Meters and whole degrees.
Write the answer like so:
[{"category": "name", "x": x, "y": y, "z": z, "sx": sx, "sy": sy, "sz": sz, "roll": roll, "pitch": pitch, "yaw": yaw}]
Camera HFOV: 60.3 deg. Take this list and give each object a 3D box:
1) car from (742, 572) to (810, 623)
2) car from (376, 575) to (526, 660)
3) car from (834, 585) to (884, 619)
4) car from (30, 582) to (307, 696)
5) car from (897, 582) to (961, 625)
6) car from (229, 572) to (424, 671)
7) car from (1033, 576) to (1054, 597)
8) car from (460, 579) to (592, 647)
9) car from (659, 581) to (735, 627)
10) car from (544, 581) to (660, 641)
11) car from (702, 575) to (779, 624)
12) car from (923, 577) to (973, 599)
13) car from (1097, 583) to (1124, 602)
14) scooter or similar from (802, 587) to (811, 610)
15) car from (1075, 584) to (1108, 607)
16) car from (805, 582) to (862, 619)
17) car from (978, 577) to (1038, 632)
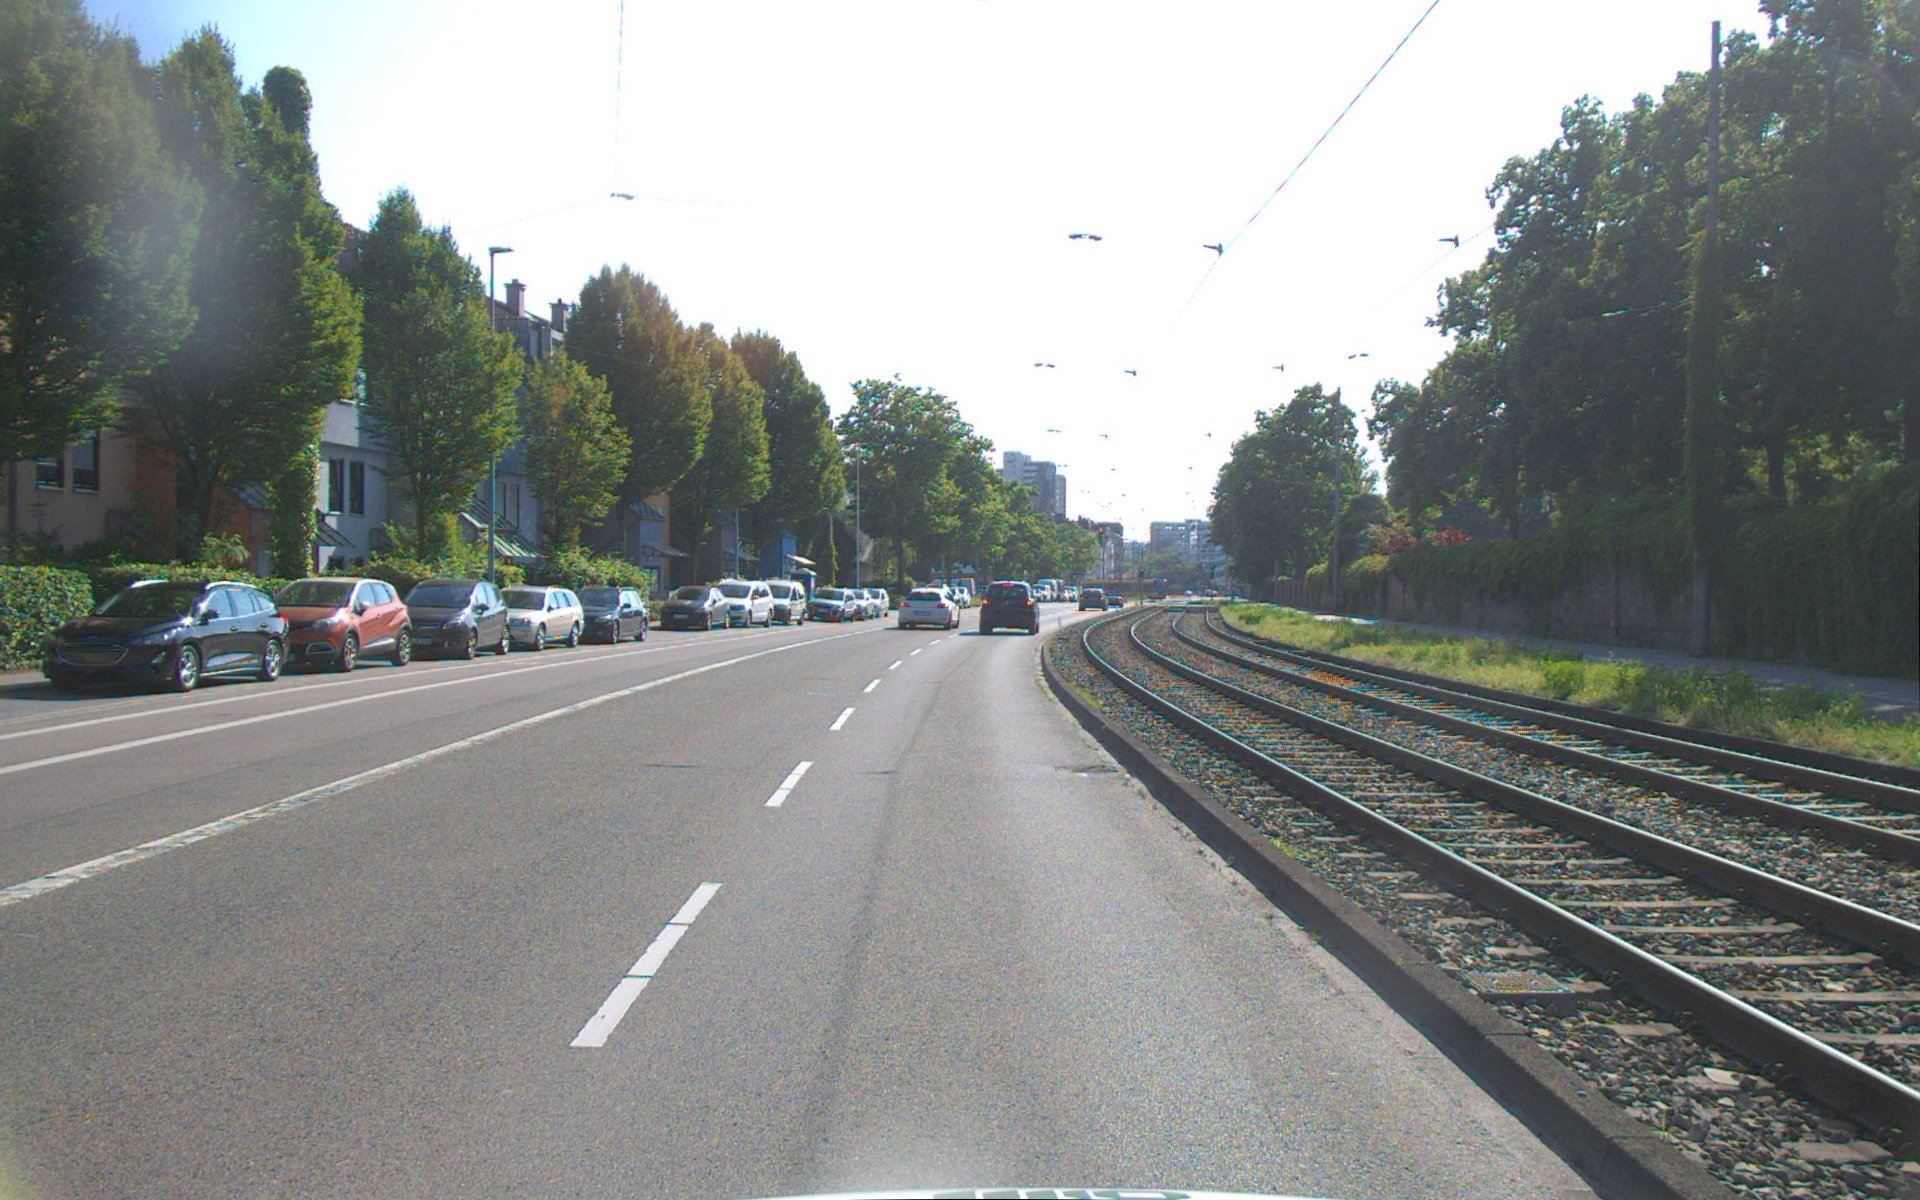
[{"category": "car", "x": -7.635, "y": -0.121, "z": 69.144, "sx": 1.726, "sy": 1.877, "sz": 4.583, "roll": 5, "pitch": 1, "yaw": 6}, {"category": "car", "x": -10.681, "y": 0.331, "z": 35.006, "sx": 1.726, "sy": 1.601, "sz": 4.299, "roll": 3, "pitch": 0, "yaw": 1}, {"category": "car", "x": -5.096, "y": 0.074, "z": 84.011, "sx": 1.712, "sy": 1.536, "sz": 4.759, "roll": 5, "pitch": 1, "yaw": 6}, {"category": "car", "x": -11.118, "y": 0.478, "z": 23.637, "sx": 1.618, "sy": 1.449, "sz": 4.714, "roll": 0, "pitch": 1, "yaw": 1}, {"category": "car", "x": -1.030, "y": 0.098, "z": 56.644, "sx": 1.825, "sy": 1.371, "sz": 4.002, "roll": 1, "pitch": 1, "yaw": 4}, {"category": "car", "x": -11.038, "y": 0.355, "z": 29.128, "sx": 1.726, "sy": 1.601, "sz": 4.162, "roll": 1, "pitch": 0, "yaw": 1}, {"category": "car", "x": 9.565, "y": -1.539, "z": 188.307, "sx": 1.823, "sy": 2.388, "sz": 4.989, "roll": 0, "pitch": 0, "yaw": 10}, {"category": "car", "x": -10.517, "y": 0.319, "z": 40.422, "sx": 1.677, "sy": 1.497, "sz": 4.846, "roll": 2, "pitch": 0, "yaw": 3}, {"category": "car", "x": -9.129, "y": 0.124, "z": 57.618, "sx": 1.582, "sy": 1.491, "sz": 4.061, "roll": 2, "pitch": 1, "yaw": 6}, {"category": "car", "x": -9.925, "y": 0.269, "z": 46.282, "sx": 1.673, "sy": 1.497, "sz": 4.913, "roll": 3, "pitch": 1, "yaw": 6}, {"category": "car", "x": -8.300, "y": -0.030, "z": 62.947, "sx": 1.633, "sy": 1.730, "sz": 4.828, "roll": 2, "pitch": 1, "yaw": 8}, {"category": "car", "x": -1.305, "y": -1.312, "z": 183.045, "sx": 5.260, "sy": 2.466, "sz": 2.089, "roll": 0, "pitch": 0, "yaw": 8}, {"category": "car", "x": 12.072, "y": -0.592, "z": 132.679, "sx": 1.773, "sy": 1.474, "sz": 4.004, "roll": 2, "pitch": 1, "yaw": 10}, {"category": "scooter or similar", "x": -8.012, "y": -0.095, "z": 86.349, "sx": 0.287, "sy": 1.174, "sz": 1.043, "roll": 0, "pitch": 0, "yaw": 4}, {"category": "car", "x": 8.682, "y": -0.303, "z": 109.120, "sx": 1.773, "sy": 1.474, "sz": 4.004, "roll": 2, "pitch": 1, "yaw": 10}, {"category": "car", "x": -6.017, "y": 0.002, "z": 79.109, "sx": 1.726, "sy": 1.565, "sz": 3.984, "roll": 5, "pitch": 1, "yaw": 8}, {"category": "car", "x": 1.569, "y": 0.122, "z": 53.251, "sx": 1.773, "sy": 1.673, "sz": 4.002, "roll": 1, "pitch": 0, "yaw": 3}]
